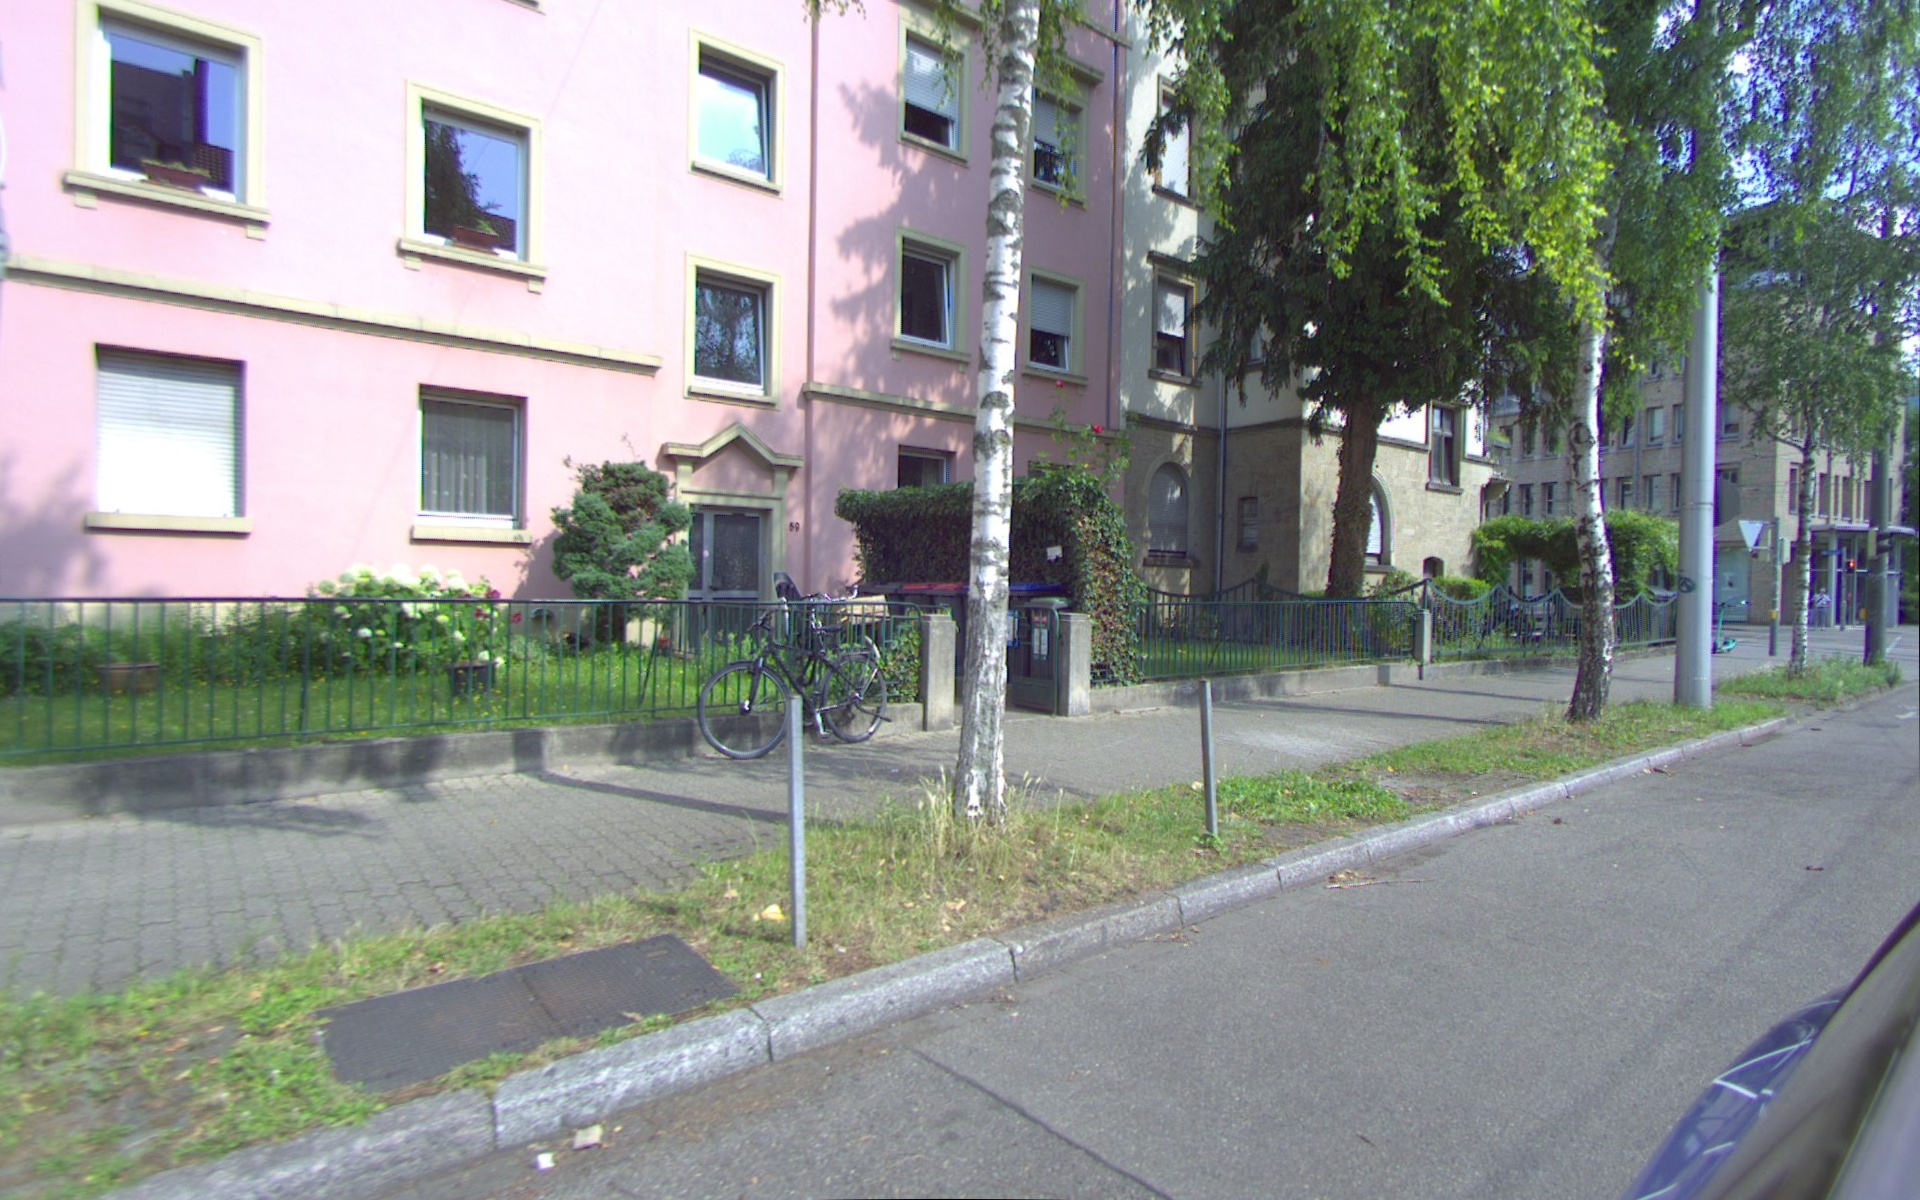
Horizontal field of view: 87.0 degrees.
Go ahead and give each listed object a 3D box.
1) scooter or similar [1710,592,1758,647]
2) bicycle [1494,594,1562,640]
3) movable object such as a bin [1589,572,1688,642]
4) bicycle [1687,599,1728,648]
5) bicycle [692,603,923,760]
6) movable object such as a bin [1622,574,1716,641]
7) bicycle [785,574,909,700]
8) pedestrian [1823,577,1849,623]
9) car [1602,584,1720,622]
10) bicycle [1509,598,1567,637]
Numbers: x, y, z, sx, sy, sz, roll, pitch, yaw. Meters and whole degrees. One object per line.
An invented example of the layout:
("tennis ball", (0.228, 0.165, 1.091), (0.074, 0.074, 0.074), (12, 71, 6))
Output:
("scooter or similar", (17.718, 0.444, 23.166), (1.166, 1.193, 0.522), (0, 4, -38))
("bicycle", (13.329, 0.378, 23.782), (0.445, 1.014, 1.314), (0, 2, -39))
("movable object such as a bin", (15.443, 0.133, 23.033), (1.964, 1.511, 1.305), (0, 2, -38))
("bicycle", (16.809, 0.508, 22.739), (1.455, 1.034, 0.350), (0, 4, -40))
("bicycle", (-1.116, 0.562, 7.679), (1.746, 1.066, 0.421), (0, 1, -38))
("movable object such as a bin", (17.078, 0.162, 24.366), (1.964, 1.511, 1.305), (0, 2, -38))
("bicycle", (-1.252, 0.350, 10.898), (0.413, 1.235, 1.777), (0, 1, -39))
("pedestrian", (36.508, -0.017, 42.178), (0.732, 1.866, 0.796), (1, 1, 36))
("car", (31.417, 0.118, 45.478), (1.642, 1.566, 4.006), (1, 1, -28))
("bicycle", (14.529, 0.436, 25.435), (0.445, 0.911, 1.169), (0, 2, -39))
